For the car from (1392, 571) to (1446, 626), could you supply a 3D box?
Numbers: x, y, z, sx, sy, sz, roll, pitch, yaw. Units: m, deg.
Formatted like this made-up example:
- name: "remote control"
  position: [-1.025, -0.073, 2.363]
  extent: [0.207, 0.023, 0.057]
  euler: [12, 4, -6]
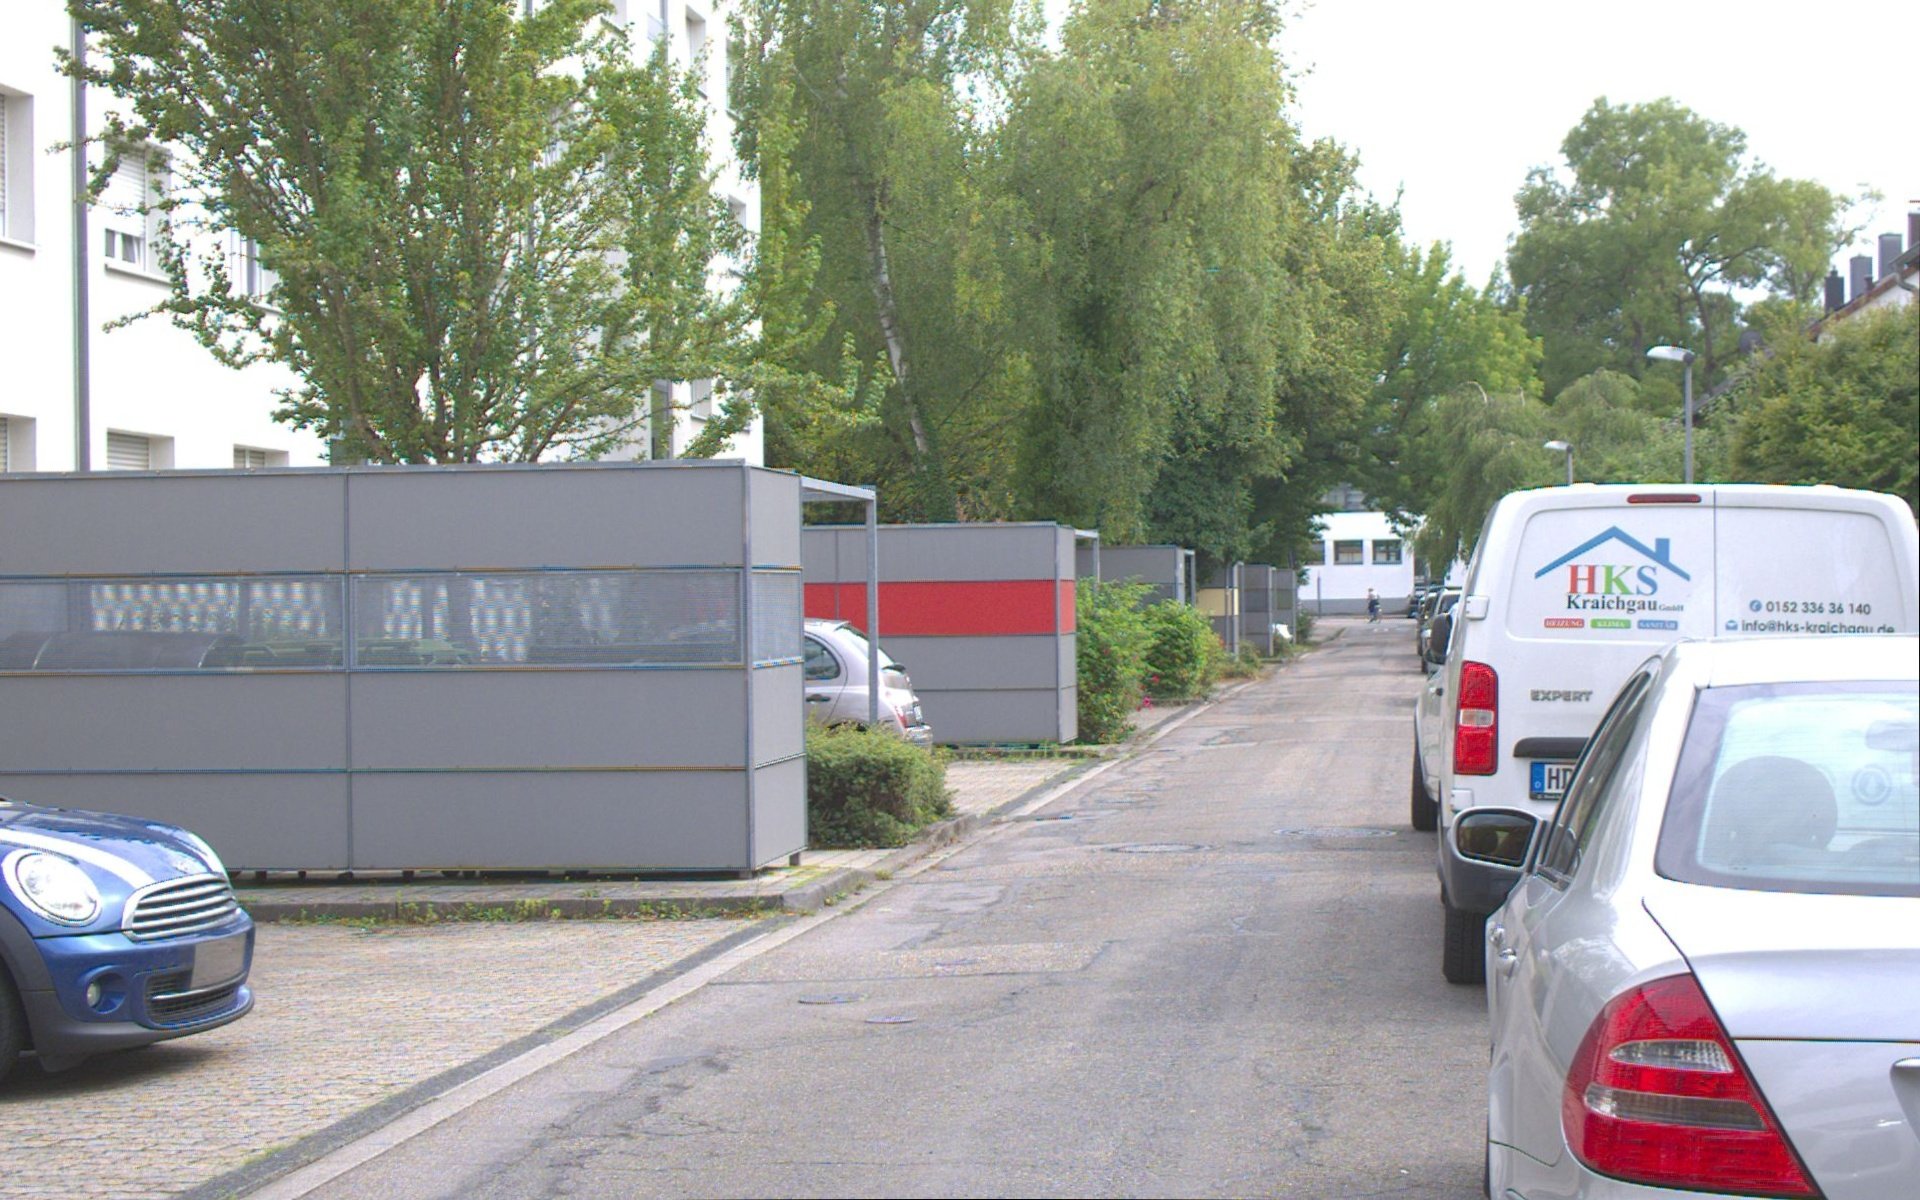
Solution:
- name: "car"
  position: [16.363, -0.072, 122.588]
  extent: [1.825, 1.877, 3.999]
  euler: [1, 0, 8]

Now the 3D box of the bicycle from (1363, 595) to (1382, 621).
- name: "bicycle"
  position: [17.962, 0.356, 149.797]
  extent: [0.689, 1.127, 2.578]
  euler: [1, 0, 9]

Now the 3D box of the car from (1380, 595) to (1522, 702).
- name: "car"
  position: [6.792, 0.635, 47.654]
  extent: [1.825, 1.366, 4.329]
  euler: [1, 0, 8]

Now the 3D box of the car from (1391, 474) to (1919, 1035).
- name: "car"
  position: [2.849, 0.533, 14.805]
  extent: [1.904, 1.958, 5.252]
  euler: [1, 0, 7]

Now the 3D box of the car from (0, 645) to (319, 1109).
- name: "car"
  position: [-4.308, 0.945, 12.144]
  extent: [3.636, 1.456, 1.652]
  euler: [-2, 0, 11]

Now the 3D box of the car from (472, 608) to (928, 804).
- name: "car"
  position: [-2.125, 0.866, 28.753]
  extent: [3.562, 1.475, 1.710]
  euler: [-2, 0, 3]

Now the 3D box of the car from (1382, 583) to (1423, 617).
- name: "car"
  position: [21.035, -0.014, 163.342]
  extent: [1.825, 1.576, 3.999]
  euler: [1, 0, 8]

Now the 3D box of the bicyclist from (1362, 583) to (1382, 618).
- name: "bicyclist"
  position: [17.944, 0.032, 149.811]
  extent: [0.799, 1.506, 0.933]
  euler: [1, 0, 9]

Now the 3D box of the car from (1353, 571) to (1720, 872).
- name: "car"
  position: [3.407, 0.657, 20.989]
  extent: [1.825, 1.630, 4.161]
  euler: [1, 0, 4]

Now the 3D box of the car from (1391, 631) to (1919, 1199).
- name: "car"
  position: [1.773, 0.804, 6.457]
  extent: [1.784, 1.416, 4.454]
  euler: [1, 0, 9]

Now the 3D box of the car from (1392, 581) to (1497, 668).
- name: "car"
  position: [9.298, 0.446, 66.242]
  extent: [1.825, 1.576, 3.999]
  euler: [1, 0, 6]
